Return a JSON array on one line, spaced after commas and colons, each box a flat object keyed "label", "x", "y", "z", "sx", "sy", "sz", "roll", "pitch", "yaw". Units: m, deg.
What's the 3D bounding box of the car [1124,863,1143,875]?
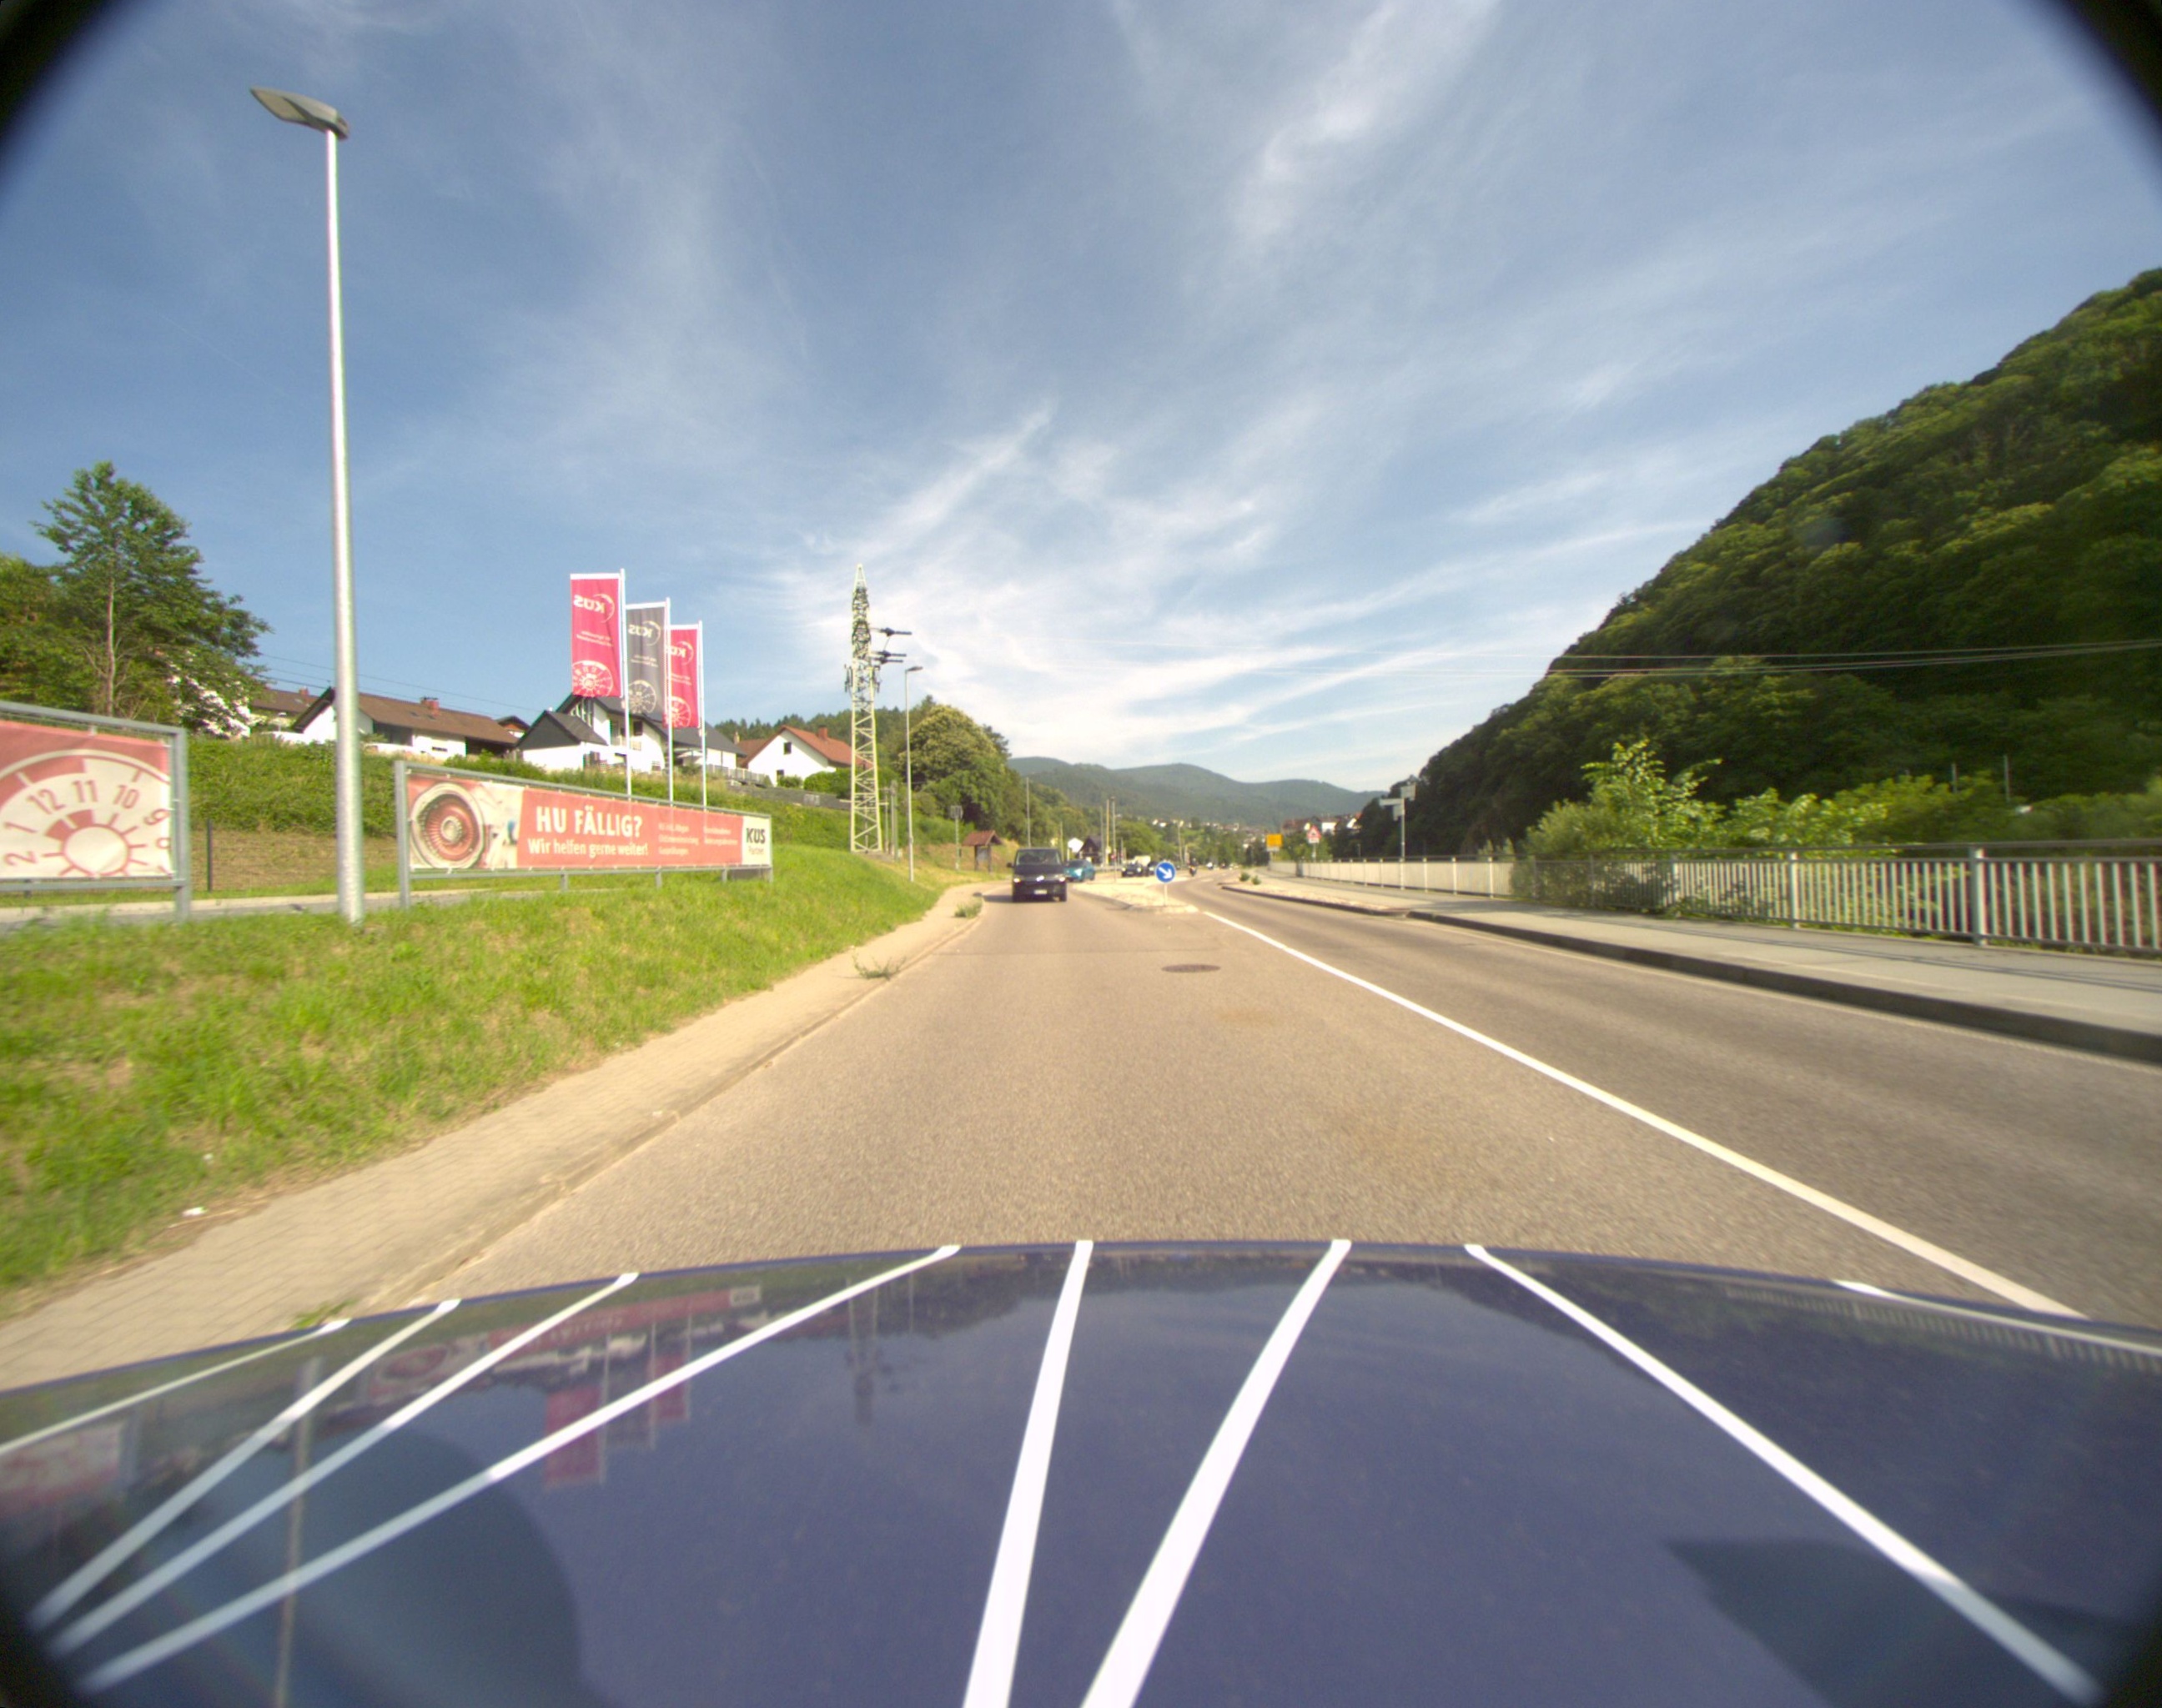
[{"label": "car", "x": 4.678, "y": 1.317, "z": 67.760, "sx": 1.304, "sy": 0.963, "sz": 3.208, "roll": -2, "pitch": -2, "yaw": 10}]

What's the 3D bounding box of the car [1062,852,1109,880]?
[{"label": "car", "x": 0.344, "y": 0.808, "z": 51.920, "sx": 1.880, "sy": 1.728, "sz": 4.520, "roll": -1, "pitch": 1, "yaw": 18}]

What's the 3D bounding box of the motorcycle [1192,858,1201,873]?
[{"label": "motorcycle", "x": 10.780, "y": 1.076, "z": 71.239, "sx": 0.774, "sy": 1.414, "sz": 2.320, "roll": -1, "pitch": 0, "yaw": 7}]

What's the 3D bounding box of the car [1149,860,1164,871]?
[{"label": "car", "x": 8.000, "y": 1.213, "z": 80.503, "sx": 1.271, "sy": 1.171, "sz": 3.126, "roll": -2, "pitch": -1, "yaw": 11}]

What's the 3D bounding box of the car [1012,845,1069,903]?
[{"label": "car", "x": -1.576, "y": 0.681, "z": 27.996, "sx": 1.866, "sy": 1.936, "sz": 4.635, "roll": 1, "pitch": 0, "yaw": -6}]

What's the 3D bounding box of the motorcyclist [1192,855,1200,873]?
[{"label": "motorcyclist", "x": 10.788, "y": 0.947, "z": 71.326, "sx": 0.764, "sy": 1.668, "sz": 0.727, "roll": -1, "pitch": 1, "yaw": 8}]
